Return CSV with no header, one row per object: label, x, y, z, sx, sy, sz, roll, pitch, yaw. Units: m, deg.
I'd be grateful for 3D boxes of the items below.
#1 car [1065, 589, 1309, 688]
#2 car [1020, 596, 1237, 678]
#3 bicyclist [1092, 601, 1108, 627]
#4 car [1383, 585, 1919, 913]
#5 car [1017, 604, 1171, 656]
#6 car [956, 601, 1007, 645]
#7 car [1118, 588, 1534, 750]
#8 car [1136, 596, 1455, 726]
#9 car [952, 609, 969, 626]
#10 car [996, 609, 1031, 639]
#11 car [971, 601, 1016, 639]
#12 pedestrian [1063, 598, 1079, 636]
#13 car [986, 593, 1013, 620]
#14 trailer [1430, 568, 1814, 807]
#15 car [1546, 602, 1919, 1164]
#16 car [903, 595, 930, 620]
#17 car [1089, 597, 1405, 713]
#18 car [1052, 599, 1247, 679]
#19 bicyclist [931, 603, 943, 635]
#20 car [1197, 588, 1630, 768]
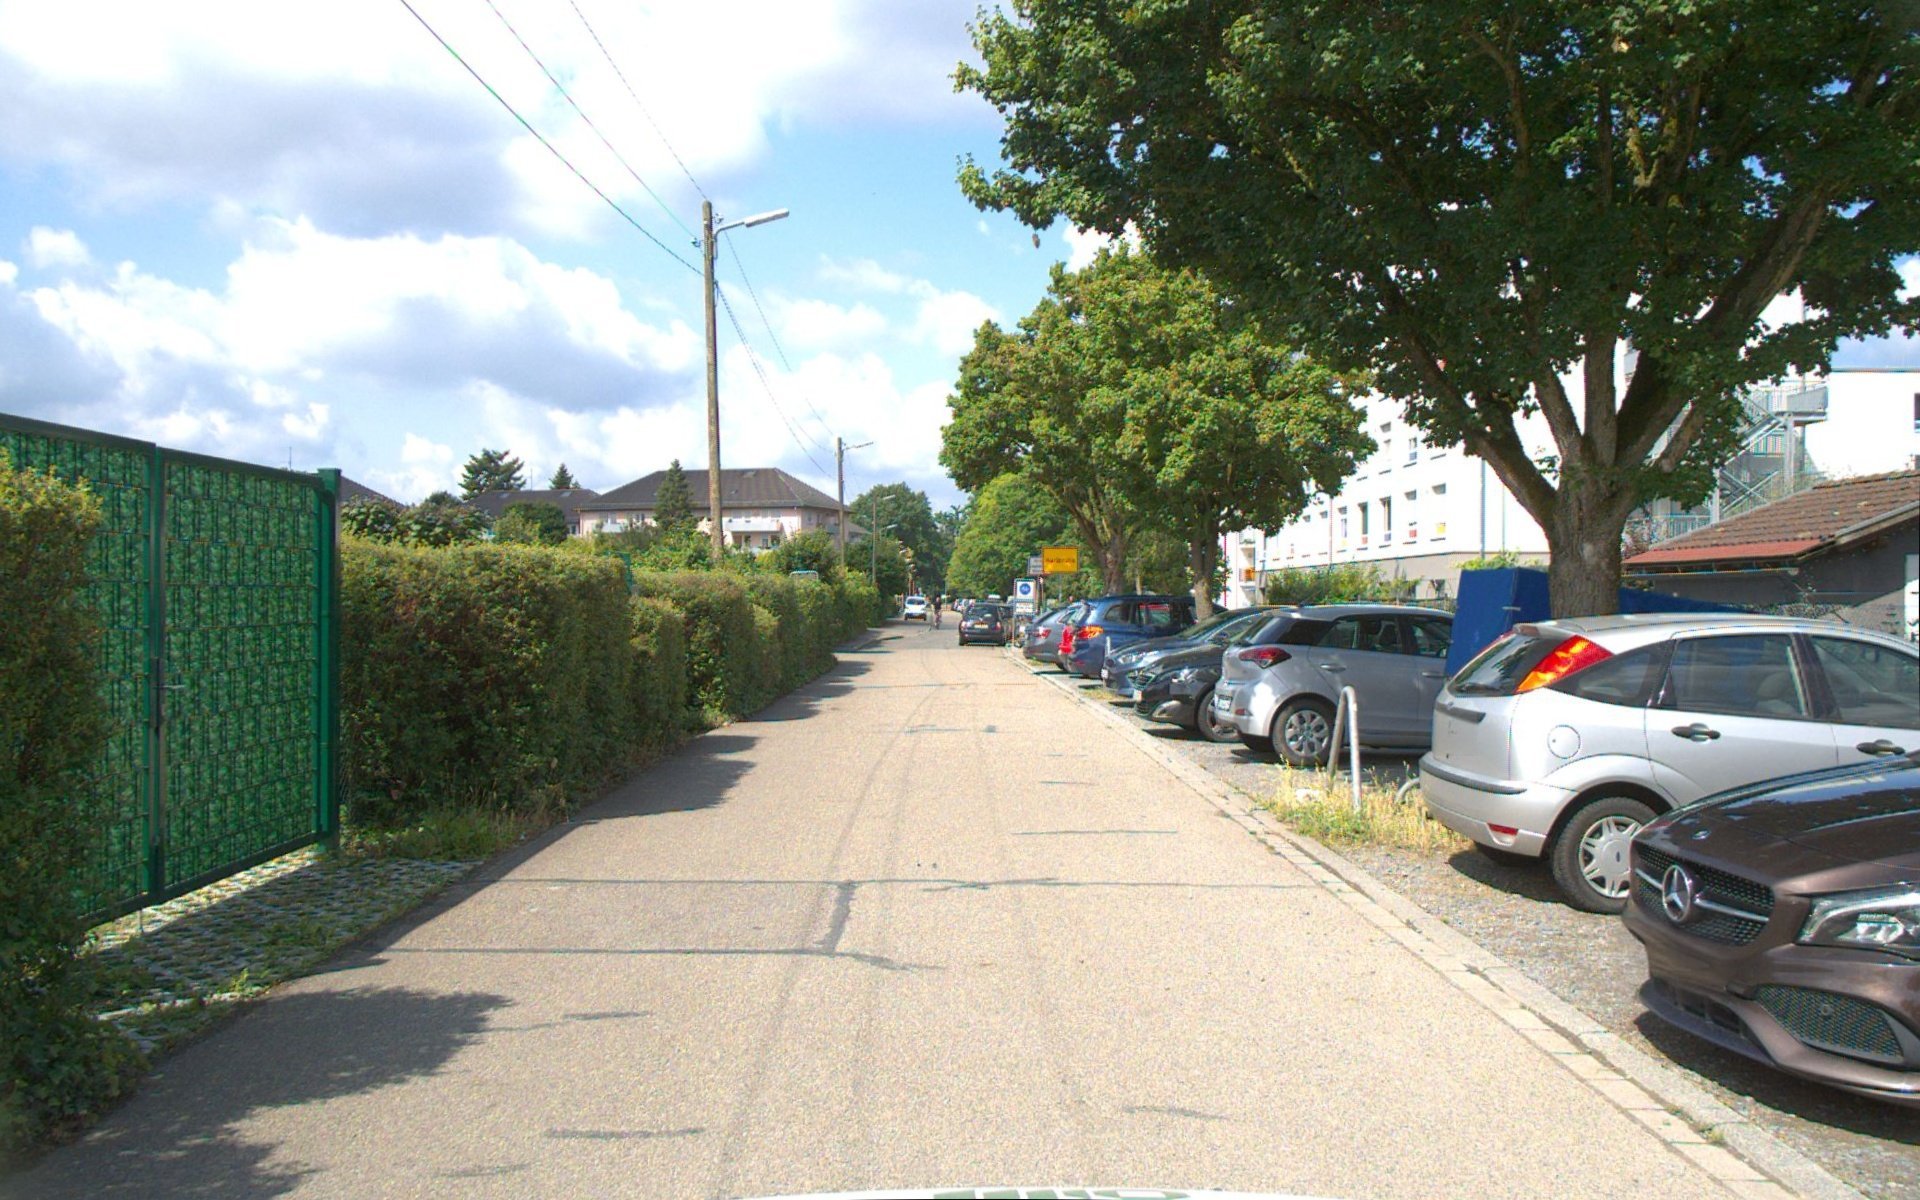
car,3.953,0.666,29.270,4.069,1.666,1.879,0,0,0
car,3.603,0.788,35.925,4.457,1.606,1.808,2,0,-2
bicyclist,9.865,0.960,116.804,0.770,1.817,0.892,1,-1,31
car,4.549,0.755,9.037,3.980,1.538,1.958,2,0,2
car,3.788,0.833,46.945,4.267,1.416,1.719,-1,-1,3
car,0.808,0.826,60.703,1.628,1.532,4.002,1,0,4
car,4.021,0.743,18.692,4.215,1.622,1.999,2,0,-2
car,4.303,0.772,21.616,3.736,1.518,1.902,2,0,-2
car,0.050,2.156,208.501,1.953,2.049,3.999,2,0,-1
car,2.649,1.187,82.566,1.629,1.460,3.541,2,0,0
car,1.476,0.875,72.510,1.628,1.579,3.639,1,0,6
pedestrian,5.295,0.796,78.759,0.597,1.776,0.722,1,-1,12
car,3.027,0.493,127.186,2.015,1.960,4.541,1,0,2
trailer,5.226,0.654,13.246,2.402,1.750,1.517,2,1,-5
car,4.259,0.804,5.425,3.985,1.481,1.868,2,0,-3
car,-3.376,0.611,129.063,1.863,1.846,4.001,1,0,2
car,4.121,0.779,24.263,4.248,1.518,1.975,2,0,-2
car,3.790,0.765,33.519,3.732,1.559,1.761,0,0,-1
bicyclist,-1.340,1.096,96.919,0.645,1.884,1.043,-1,0,1
car,4.315,0.727,16.115,3.650,1.567,1.848,2,0,-4
